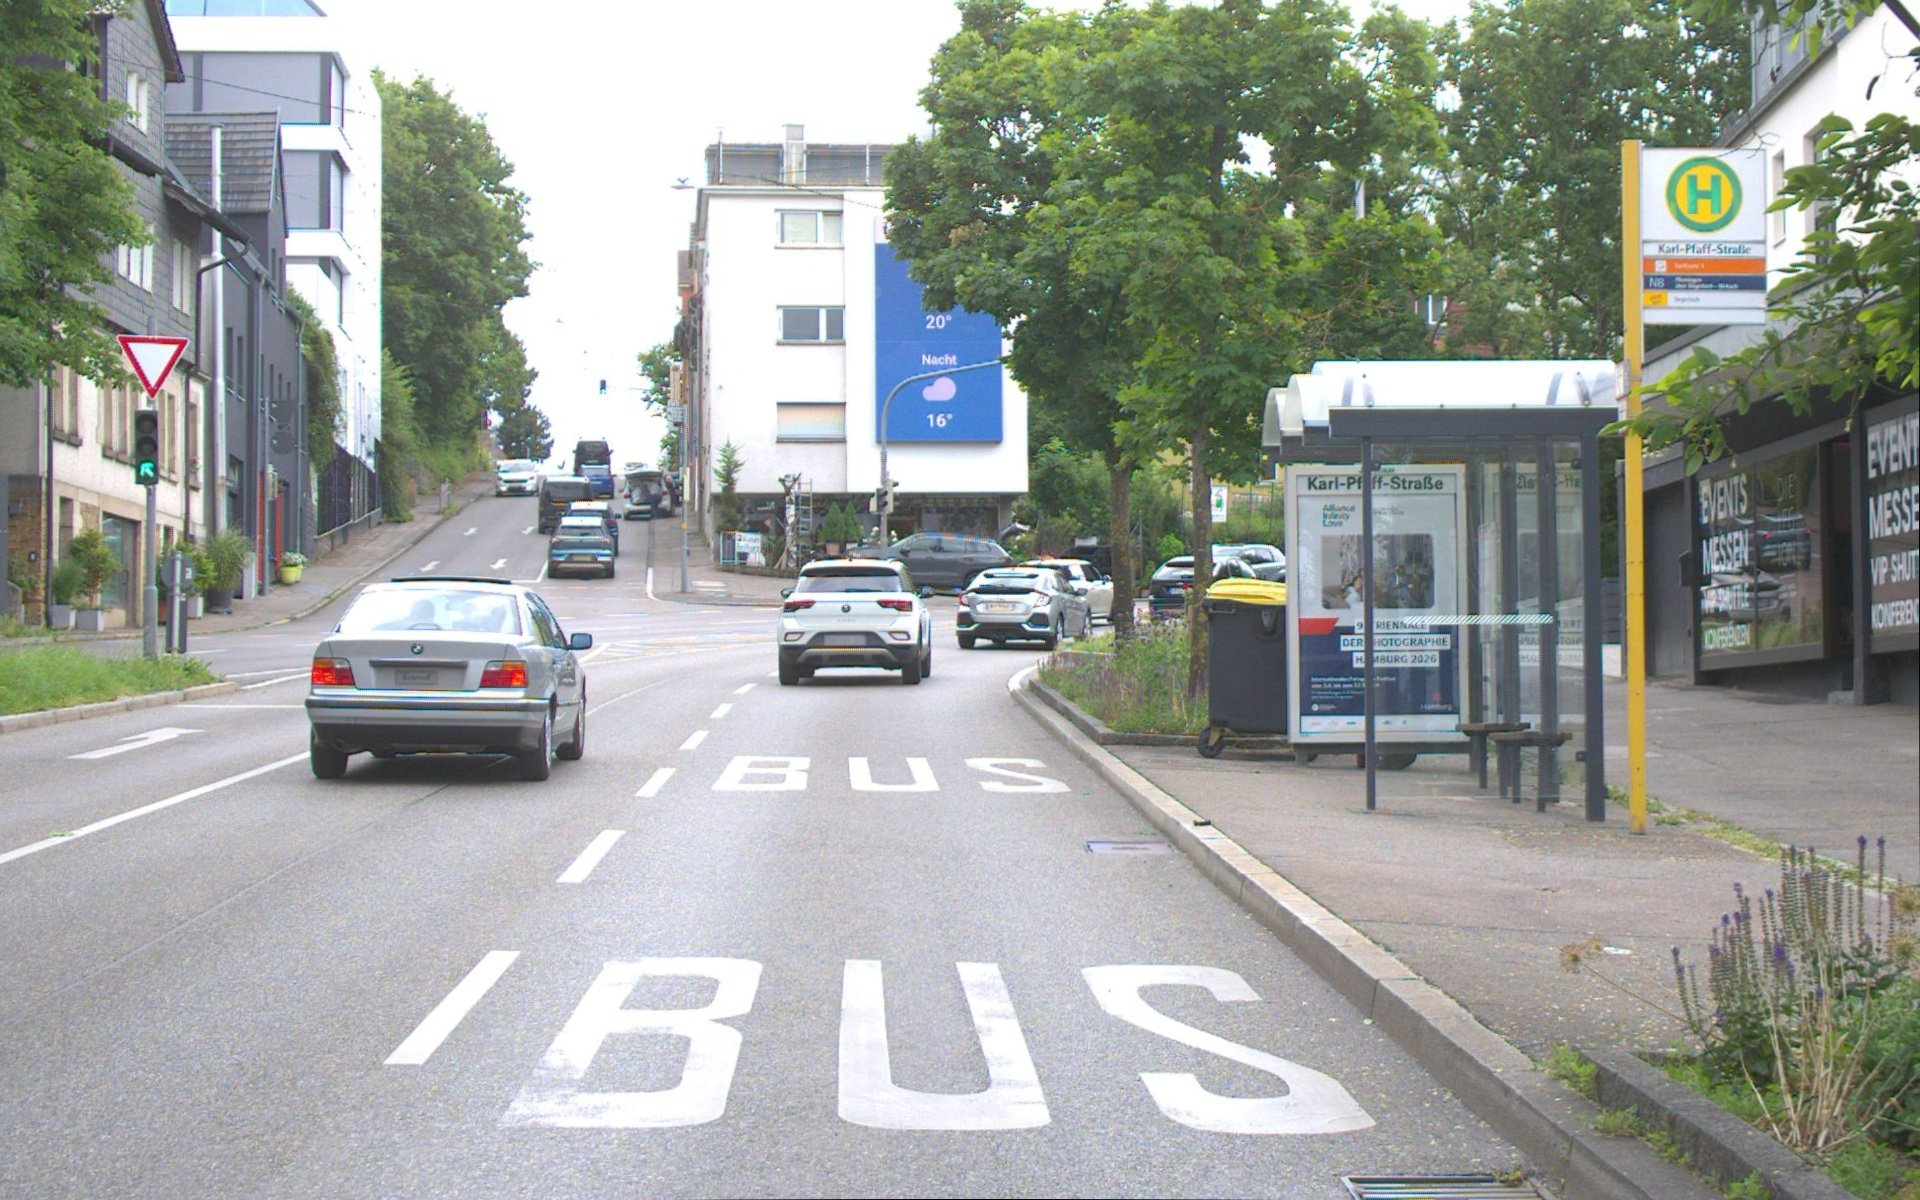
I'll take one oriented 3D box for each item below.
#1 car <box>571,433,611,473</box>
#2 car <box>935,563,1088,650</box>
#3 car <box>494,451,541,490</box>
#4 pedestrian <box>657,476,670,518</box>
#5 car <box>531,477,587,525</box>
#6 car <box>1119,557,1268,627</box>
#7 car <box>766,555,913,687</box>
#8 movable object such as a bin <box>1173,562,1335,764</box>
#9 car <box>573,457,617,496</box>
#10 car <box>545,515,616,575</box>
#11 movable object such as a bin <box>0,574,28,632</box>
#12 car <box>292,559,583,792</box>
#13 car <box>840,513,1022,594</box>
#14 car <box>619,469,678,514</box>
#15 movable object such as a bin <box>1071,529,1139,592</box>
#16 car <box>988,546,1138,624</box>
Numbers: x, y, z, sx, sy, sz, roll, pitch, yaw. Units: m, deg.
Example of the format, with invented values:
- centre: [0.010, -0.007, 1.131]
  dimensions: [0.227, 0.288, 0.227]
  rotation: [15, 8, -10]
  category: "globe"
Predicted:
- centre: [-19.536, -7.757, 182.246]
  dimensions: [1.993, 2.007, 4.001]
  rotation: [1, 1, -5]
  category: "car"
- centre: [0.956, 0.088, 61.071]
  dimensions: [1.781, 1.405, 3.997]
  rotation: [2, 1, 15]
  category: "car"
- centre: [-19.338, -5.684, 150.439]
  dimensions: [1.882, 1.562, 4.391]
  rotation: [0, 4, -5]
  category: "car"
- centre: [-10.950, -3.786, 126.865]
  dimensions: [0.458, 1.524, 0.527]
  rotation: [1, 0, -4]
  category: "pedestrian"
- centre: [-13.668, -3.358, 117.260]
  dimensions: [1.779, 1.573, 4.001]
  rotation: [0, 1, -5]
  category: "car"
- centre: [4.960, -0.195, 72.664]
  dimensions: [1.797, 1.405, 3.995]
  rotation: [2, 1, 25]
  category: "car"
- centre: [-1.538, 0.228, 43.794]
  dimensions: [1.779, 1.573, 4.001]
  rotation: [0, 1, -2]
  category: "car"
- centre: [2.226, 0.460, 26.248]
  dimensions: [1.085, 1.476, 1.537]
  rotation: [1, 1, 0]
  category: "movable object such as a bin"
- centre: [-15.560, -5.254, 146.637]
  dimensions: [1.779, 1.573, 4.001]
  rotation: [0, 0, -5]
  category: "car"
- centre: [-10.289, -1.514, 93.425]
  dimensions: [1.779, 1.573, 4.001]
  rotation: [1, 1, -5]
  category: "car"
- centre: [-17.008, 0.061, 61.204]
  dimensions: [0.538, 1.016, 0.646]
  rotation: [0, -1, 12]
  category: "movable object such as a bin"
- centre: [-3.676, 0.480, 24.752]
  dimensions: [1.706, 1.459, 4.001]
  rotation: [1, 1, -4]
  category: "car"
- centre: [-0.815, -1.272, 93.738]
  dimensions: [4.687, 1.706, 2.319]
  rotation: [5, 4, -5]
  category: "car"
- centre: [-11.603, -4.017, 128.099]
  dimensions: [2.089, 1.607, 4.001]
  rotation: [0, 1, -4]
  category: "car"
- centre: [4.170, -1.144, 98.899]
  dimensions: [1.763, 1.773, 1.854]
  rotation: [0, 1, 8]
  category: "movable object such as a bin"
- centre: [2.214, -0.347, 72.828]
  dimensions: [1.782, 1.573, 3.995]
  rotation: [1, 1, 24]
  category: "car"
